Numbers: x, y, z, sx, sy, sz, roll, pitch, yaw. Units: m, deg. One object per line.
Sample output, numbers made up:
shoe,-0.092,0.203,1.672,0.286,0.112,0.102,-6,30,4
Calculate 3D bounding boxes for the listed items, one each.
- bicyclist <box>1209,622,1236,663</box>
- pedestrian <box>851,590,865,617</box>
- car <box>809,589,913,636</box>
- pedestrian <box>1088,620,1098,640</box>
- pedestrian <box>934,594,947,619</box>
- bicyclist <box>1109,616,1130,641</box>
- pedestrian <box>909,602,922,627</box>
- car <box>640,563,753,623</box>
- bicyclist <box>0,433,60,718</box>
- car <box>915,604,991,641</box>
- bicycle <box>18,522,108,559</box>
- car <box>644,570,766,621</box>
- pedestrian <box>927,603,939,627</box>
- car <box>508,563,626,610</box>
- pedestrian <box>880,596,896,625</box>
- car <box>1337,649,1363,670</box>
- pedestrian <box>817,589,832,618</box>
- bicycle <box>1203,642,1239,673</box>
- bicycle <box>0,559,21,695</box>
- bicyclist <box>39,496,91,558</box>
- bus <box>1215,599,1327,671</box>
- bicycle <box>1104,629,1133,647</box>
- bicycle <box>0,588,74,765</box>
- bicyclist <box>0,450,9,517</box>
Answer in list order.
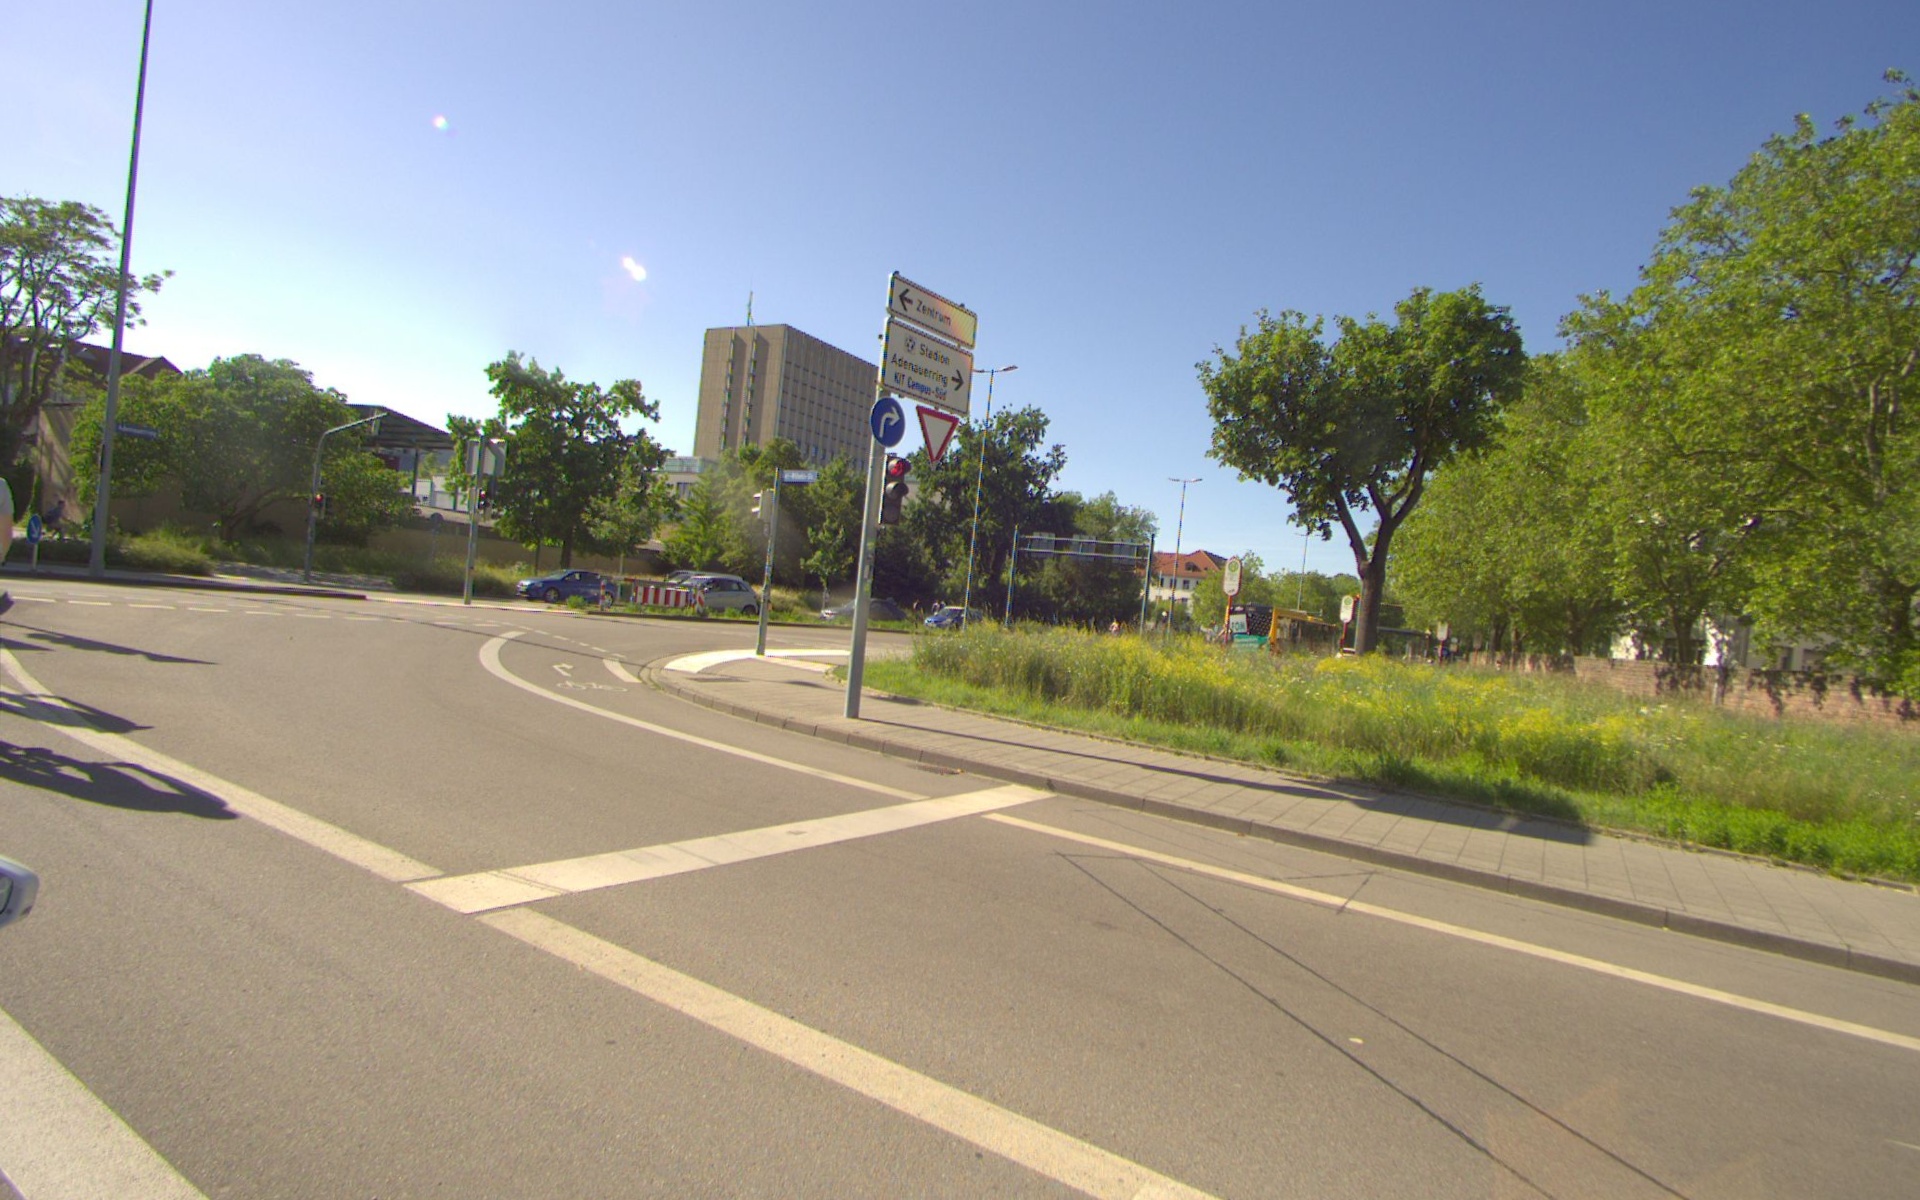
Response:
bicyclist,9.209,1.503,35.257,0.509,1.368,1.002,7,1,32
pedestrian,-6.916,0.234,68.379,0.519,1.800,0.561,7,1,36
car,-4.306,0.580,44.713,1.968,1.604,4.736,6,0,33
pedestrian,12.719,2.891,96.211,0.519,1.801,0.562,7,1,33
pedestrian,-1.460,0.474,74.737,0.519,1.801,0.561,7,1,35
bicyclist,11.292,2.043,71.230,0.778,1.649,1.315,7,1,36
pedestrian,-3.236,1.052,72.905,0.519,1.801,0.561,7,1,35
car,-12.309,-0.273,47.334,1.968,2.131,4.885,6,-2,34
bicyclist,-6.220,-0.200,6.094,1.000,1.688,0.752,6,-1,33
car,-0.318,1.143,50.437,1.758,1.448,3.988,6,0,35
bicycle,-29.504,-1.950,33.107,0.686,0.942,2.079,9,2,39
car,-9.438,-0.127,37.435,1.840,1.426,4.046,6,0,38
pedestrian,-2.016,1.104,75.066,0.519,1.716,0.561,7,1,35
car,-16.090,-0.514,41.343,1.717,1.453,4.162,7,0,38
pedestrian,-4.844,0.715,68.032,0.702,1.872,0.561,7,1,35
car,32.938,5.014,84.851,1.669,1.525,3.772,6,0,24
pedestrian,-8.709,0.253,64.780,0.519,1.801,0.561,7,1,33
bicycle,9.168,2.026,35.298,0.509,1.007,2.056,7,0,32
bicycle,-8.201,0.091,7.778,1.935,1.014,0.661,6,-1,26
bicyclist,-29.512,-2.398,33.190,0.644,1.891,1.099,7,1,42
bus,16.049,1.925,51.266,2.751,2.662,10.099,6,-2,32
bicycle,11.246,2.685,71.293,0.778,1.032,2.630,7,0,36
bicycle,-6.164,0.367,6.009,1.946,0.906,0.741,6,-2,33
bicyclist,-8.135,-0.371,7.783,1.048,1.759,0.647,7,-1,26
